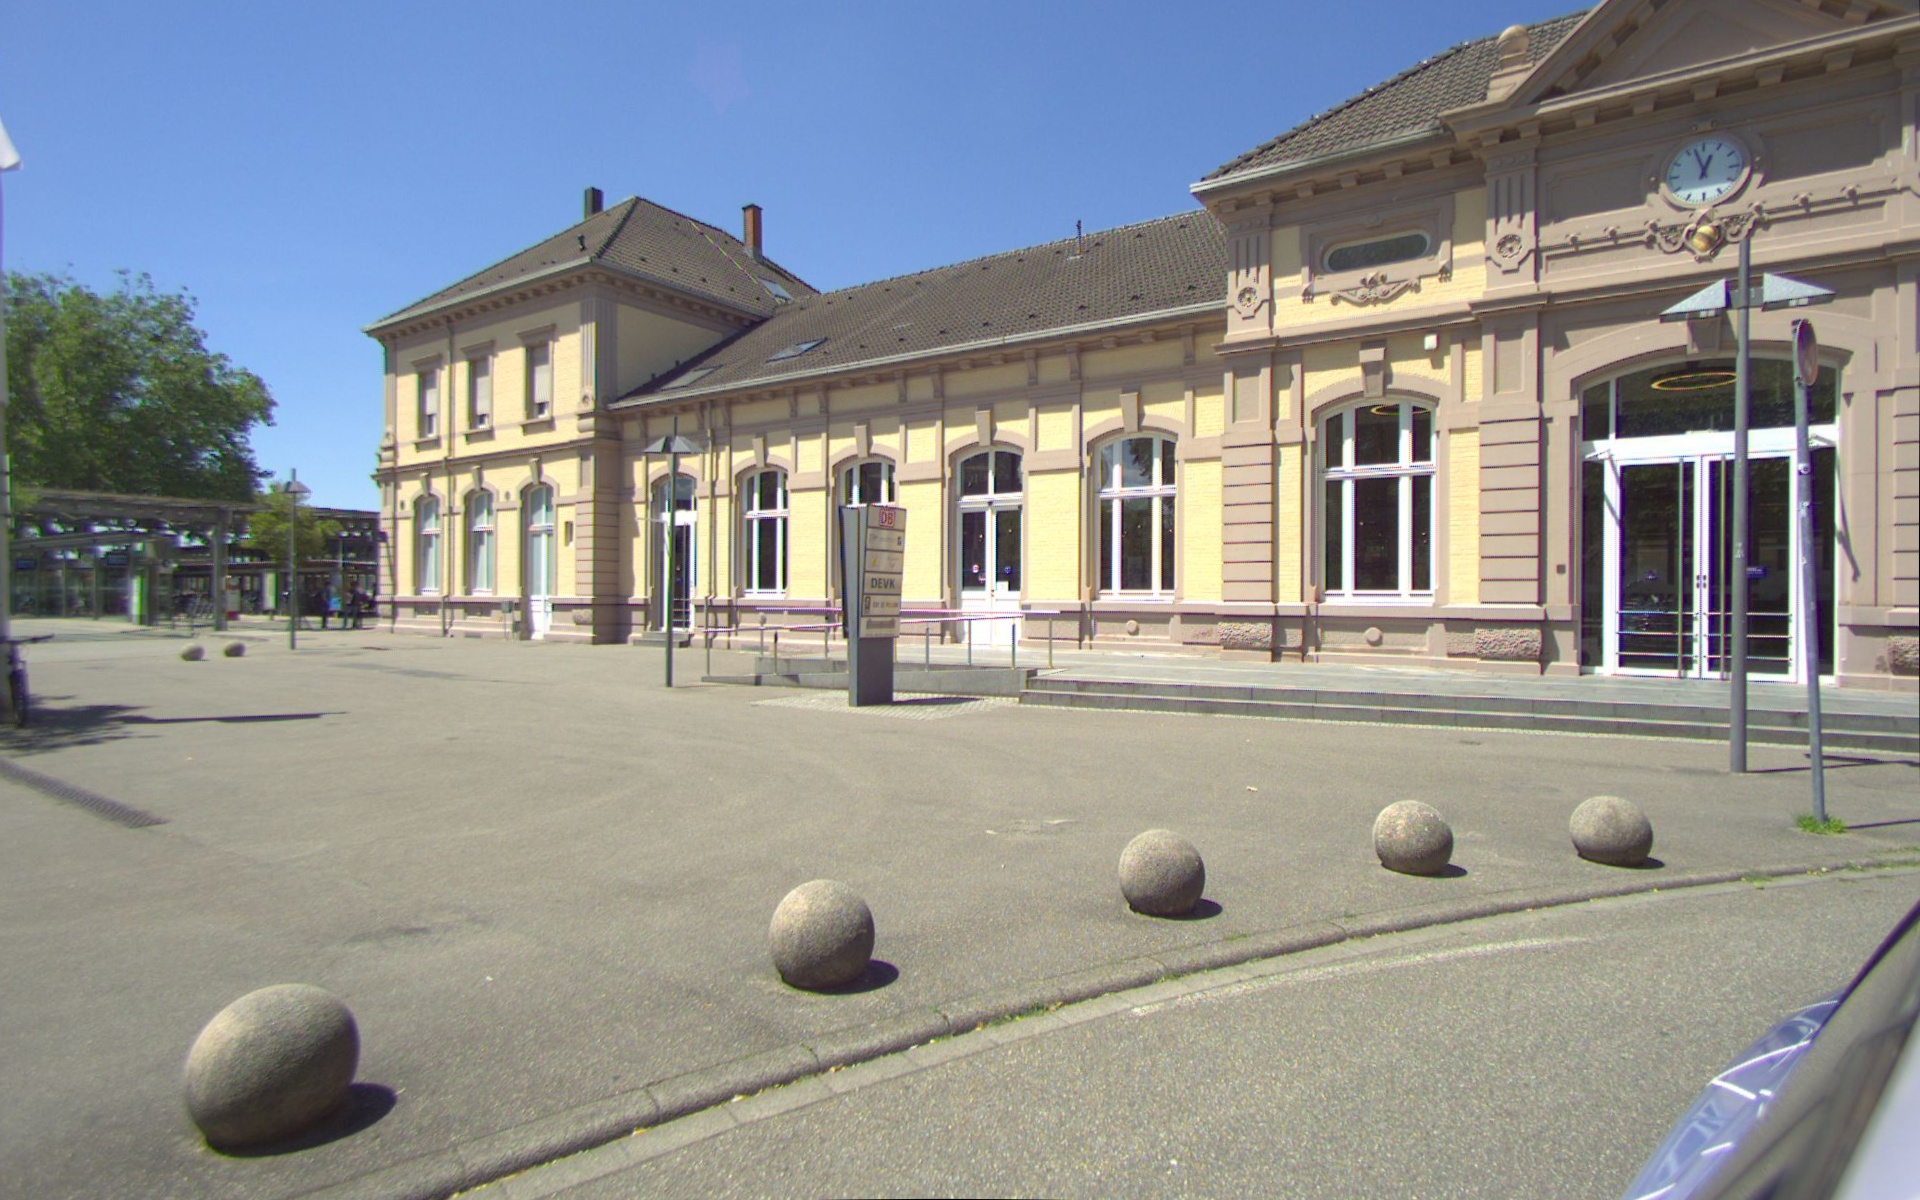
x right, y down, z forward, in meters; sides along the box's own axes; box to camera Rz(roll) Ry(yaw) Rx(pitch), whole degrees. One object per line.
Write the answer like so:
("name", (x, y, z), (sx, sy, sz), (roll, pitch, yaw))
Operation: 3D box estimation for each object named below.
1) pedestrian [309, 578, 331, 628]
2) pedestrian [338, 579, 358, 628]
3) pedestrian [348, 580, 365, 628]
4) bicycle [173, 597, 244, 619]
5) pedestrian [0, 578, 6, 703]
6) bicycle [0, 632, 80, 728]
("pedestrian", (-24.101, 0.107, 38.128), (0.677, 1.832, 0.632), (0, 0, -33))
("pedestrian", (-23.168, 0.129, 38.328), (0.619, 1.832, 0.596), (0, 0, -34))
("pedestrian", (-23.288, 0.151, 39.049), (0.541, 1.832, 0.498), (0, 0, -34))
("bicycle", (-37.633, 0.408, 50.726), (0.805, 1.017, 2.762), (-1, -3, 33))
("pedestrian", (-13.529, 0.556, 13.818), (0.581, 1.706, 0.551), (0, 0, 23))
("bicycle", (-11.507, 0.955, 12.537), (1.934, 1.073, 0.416), (0, 0, 34))
